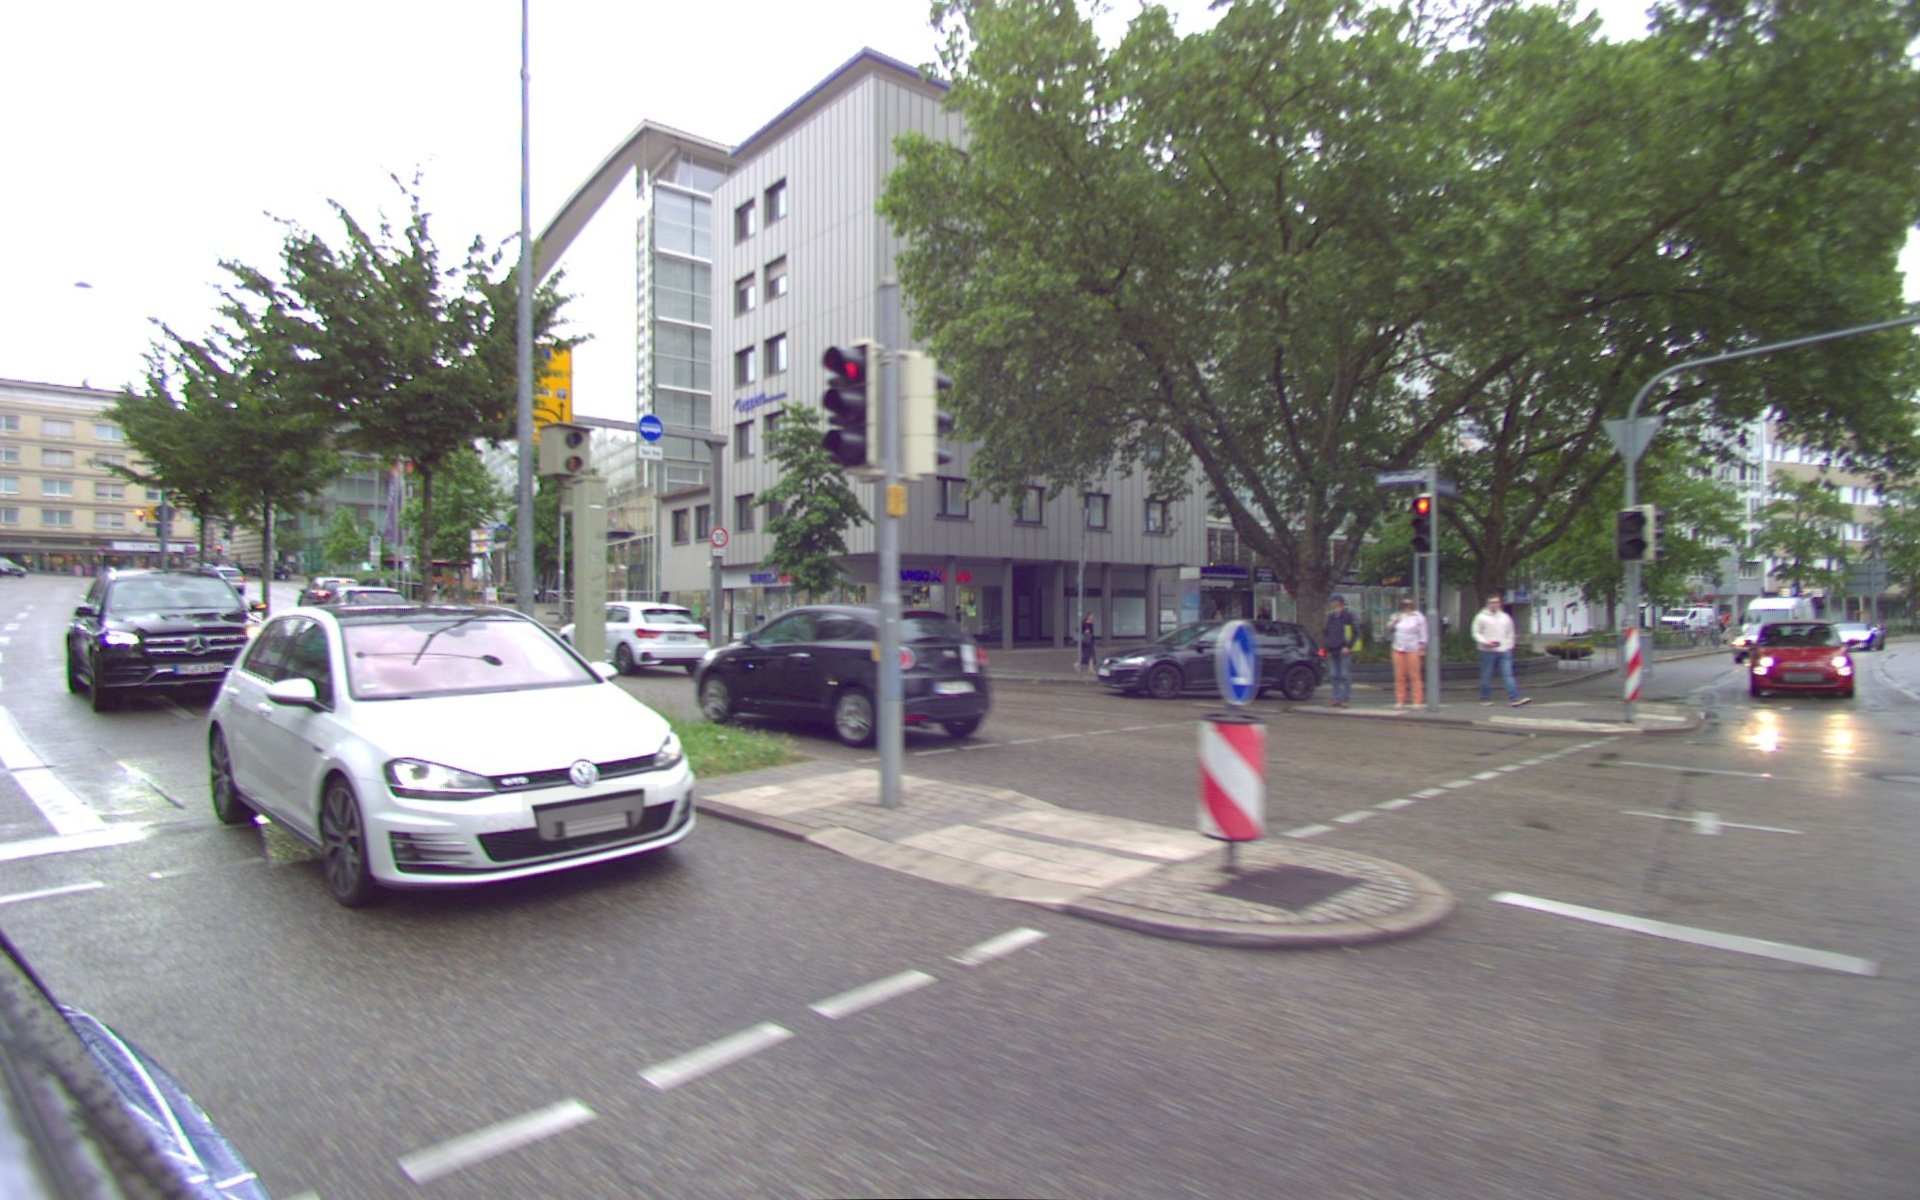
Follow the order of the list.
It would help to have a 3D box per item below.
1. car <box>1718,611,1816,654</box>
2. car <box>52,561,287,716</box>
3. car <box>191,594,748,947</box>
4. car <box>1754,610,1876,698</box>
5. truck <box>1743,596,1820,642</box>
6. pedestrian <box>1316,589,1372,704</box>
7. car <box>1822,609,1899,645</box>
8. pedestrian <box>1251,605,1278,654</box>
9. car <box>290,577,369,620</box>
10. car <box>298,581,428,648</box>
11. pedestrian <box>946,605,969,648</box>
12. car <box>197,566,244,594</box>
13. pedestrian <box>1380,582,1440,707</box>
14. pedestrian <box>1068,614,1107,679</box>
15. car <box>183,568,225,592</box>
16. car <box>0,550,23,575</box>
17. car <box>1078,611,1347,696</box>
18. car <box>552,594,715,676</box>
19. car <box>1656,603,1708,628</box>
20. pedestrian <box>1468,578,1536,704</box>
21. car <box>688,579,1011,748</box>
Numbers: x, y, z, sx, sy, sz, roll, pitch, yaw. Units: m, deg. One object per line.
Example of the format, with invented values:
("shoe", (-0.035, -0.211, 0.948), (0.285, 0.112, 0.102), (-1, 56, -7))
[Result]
("car", (28.972, 1.120, 36.316), (3.935, 1.475, 1.867), (1, -1, -38))
("car", (-11.427, 0.364, 14.487), (4.888, 1.790, 1.971), (3, 4, 44))
("car", (-3.212, 0.700, 6.227), (4.000, 1.420, 1.746), (1, 2, 43))
("car", (17.183, 1.011, 20.486), (1.699, 1.598, 3.948), (-2, -2, 38))
("truck", (41.046, 0.928, 50.512), (6.603, 2.171, 2.002), (0, -1, -43))
("pedestrian", (6.089, 0.730, 16.051), (0.676, 1.777, 0.406), (-3, -2, 43))
("car", (40.969, 1.199, 46.026), (3.935, 1.567, 1.962), (1, -1, -38))
("pedestrian", (8.861, 0.858, 29.423), (0.540, 1.417, 0.527), (1, -2, -21))
("car", (-23.645, -0.063, 37.908), (3.881, 1.503, 1.600), (1, -2, 45))
("car", (-14.602, 0.332, 24.671), (3.959, 1.490, 1.694), (1, -2, 44))
("pedestrian", (-0.085, 1.053, 40.495), (0.613, 1.669, 0.634), (1, 1, -39))
("car", (-41.517, -1.128, 56.793), (3.649, 1.448, 1.606), (3, 1, 45))
("pedestrian", (6.859, 0.662, 15.428), (0.676, 1.851, 0.442), (3, 1, 40))
("pedestrian", (3.215, 1.164, 25.492), (0.670, 1.619, 0.701), (2, -3, -44))
("car", (-51.766, -1.377, 69.292), (1.969, 1.520, 4.191), (0, 2, -42))
("car", (-69.729, -2.749, 73.891), (1.806, 1.749, 4.004), (2, 1, -44))
("car", (4.580, 0.963, 18.619), (4.353, 1.406, 1.938), (2, -1, -12))
("car", (-6.702, 0.668, 20.626), (3.645, 1.527, 1.653), (0, -2, 45))
("car", (57.378, 1.236, 80.461), (3.745, 1.763, 1.923), (-2, 3, -29))
("pedestrian", (8.561, 0.626, 16.011), (0.821, 1.921, 0.855), (0, 0, 21))
("car", (-1.337, 0.616, 11.259), (3.660, 1.567, 1.605), (-1, -1, 43))
